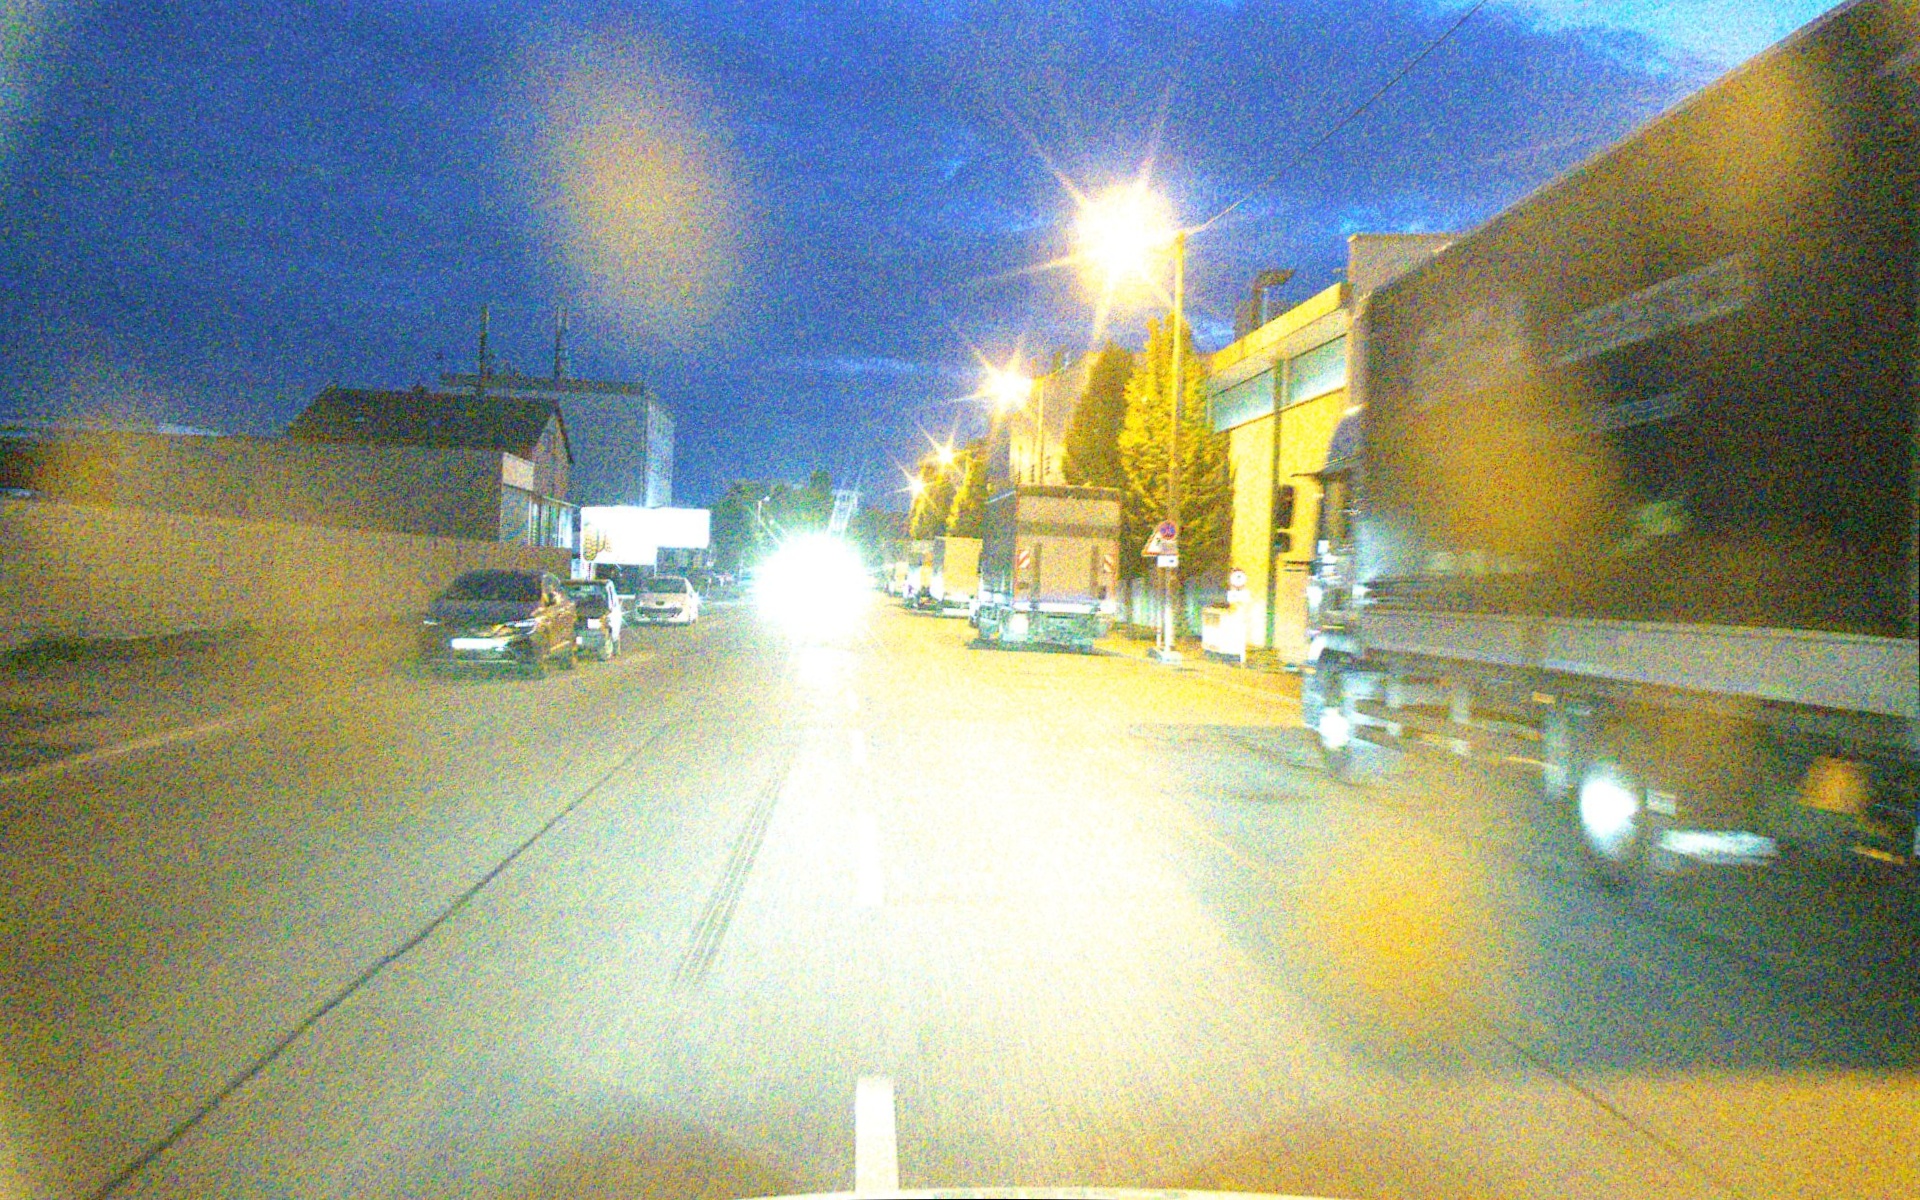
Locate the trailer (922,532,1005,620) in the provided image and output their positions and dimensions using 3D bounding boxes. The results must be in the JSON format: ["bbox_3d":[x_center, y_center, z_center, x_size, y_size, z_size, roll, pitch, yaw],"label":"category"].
[{"bbox_3d":[0.052,-1.013,72.234,2.635,3.525,7.798,2,0,-6],"label":"trailer"}]

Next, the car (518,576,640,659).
[{"bbox_3d":[-6.988,0.279,30.650,1.570,1.377,3.997,2,1,-4],"label":"car"}]

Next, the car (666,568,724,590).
[{"bbox_3d":[-20.161,-1.569,125.886,3.945,1.622,1.980,1,0,-31],"label":"car"}]

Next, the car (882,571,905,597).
[{"bbox_3d":[-6.045,-1.465,149.711,1.954,2.183,3.997,2,1,-4],"label":"car"}]

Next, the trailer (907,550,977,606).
[{"bbox_3d":[-1.097,-1.126,88.511,3.121,2.797,10.706,1,0,-4],"label":"trailer"}]

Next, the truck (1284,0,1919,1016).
[{"bbox_3d":[4.594,-0.603,10.658,2.773,4.053,10.339,1,0,-1],"label":"truck"}]

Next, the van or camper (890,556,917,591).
[{"bbox_3d":[-4.434,-2.033,129.115,1.954,2.626,4.912,2,1,-3],"label":"van or camper"}]

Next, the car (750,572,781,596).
[{"bbox_3d":[-14.935,-1.218,127.128,1.859,1.766,4.355,2,1,-1],"label":"car"}]

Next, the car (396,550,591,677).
[{"bbox_3d":[-6.975,0.180,25.263,1.955,1.665,4.769,2,0,-5],"label":"car"}]

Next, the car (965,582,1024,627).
[{"bbox_3d":[1.224,0.162,59.615,1.816,1.545,3.815,1,0,-3],"label":"car"}]

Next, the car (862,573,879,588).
[{"bbox_3d":[-10.818,-2.328,199.814,1.954,1.713,3.997,2,1,-4],"label":"car"}]

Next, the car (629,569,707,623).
[{"bbox_3d":[-8.618,-0.140,49.081,1.805,1.445,3.997,2,1,-4],"label":"car"}]

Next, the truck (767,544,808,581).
[{"bbox_3d":[-18.664,-4.021,178.363,3.819,3.684,8.243,2,1,-9],"label":"truck"}]

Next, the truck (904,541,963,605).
[{"bbox_3d":[-1.587,-1.523,95.630,3.089,3.524,6.668,1,0,-4],"label":"truck"}]

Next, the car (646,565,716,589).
[{"bbox_3d":[-19.810,-1.660,117.506,4.558,1.511,1.983,2,1,-27],"label":"car"}]

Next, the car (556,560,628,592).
[{"bbox_3d":[-21.716,-1.414,97.842,3.911,1.680,1.997,2,0,-7],"label":"car"}]

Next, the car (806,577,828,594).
[{"bbox_3d":[-13.395,-1.372,155.426,1.954,1.422,3.997,2,1,-4],"label":"car"}]

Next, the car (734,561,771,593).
[{"bbox_3d":[-12.726,-1.422,101.563,1.954,1.825,3.997,2,1,-4],"label":"car"}]

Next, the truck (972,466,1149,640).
[{"bbox_3d":[2.405,-1.108,44.001,3.451,4.053,10.334,1,0,-4],"label":"truck"}]
